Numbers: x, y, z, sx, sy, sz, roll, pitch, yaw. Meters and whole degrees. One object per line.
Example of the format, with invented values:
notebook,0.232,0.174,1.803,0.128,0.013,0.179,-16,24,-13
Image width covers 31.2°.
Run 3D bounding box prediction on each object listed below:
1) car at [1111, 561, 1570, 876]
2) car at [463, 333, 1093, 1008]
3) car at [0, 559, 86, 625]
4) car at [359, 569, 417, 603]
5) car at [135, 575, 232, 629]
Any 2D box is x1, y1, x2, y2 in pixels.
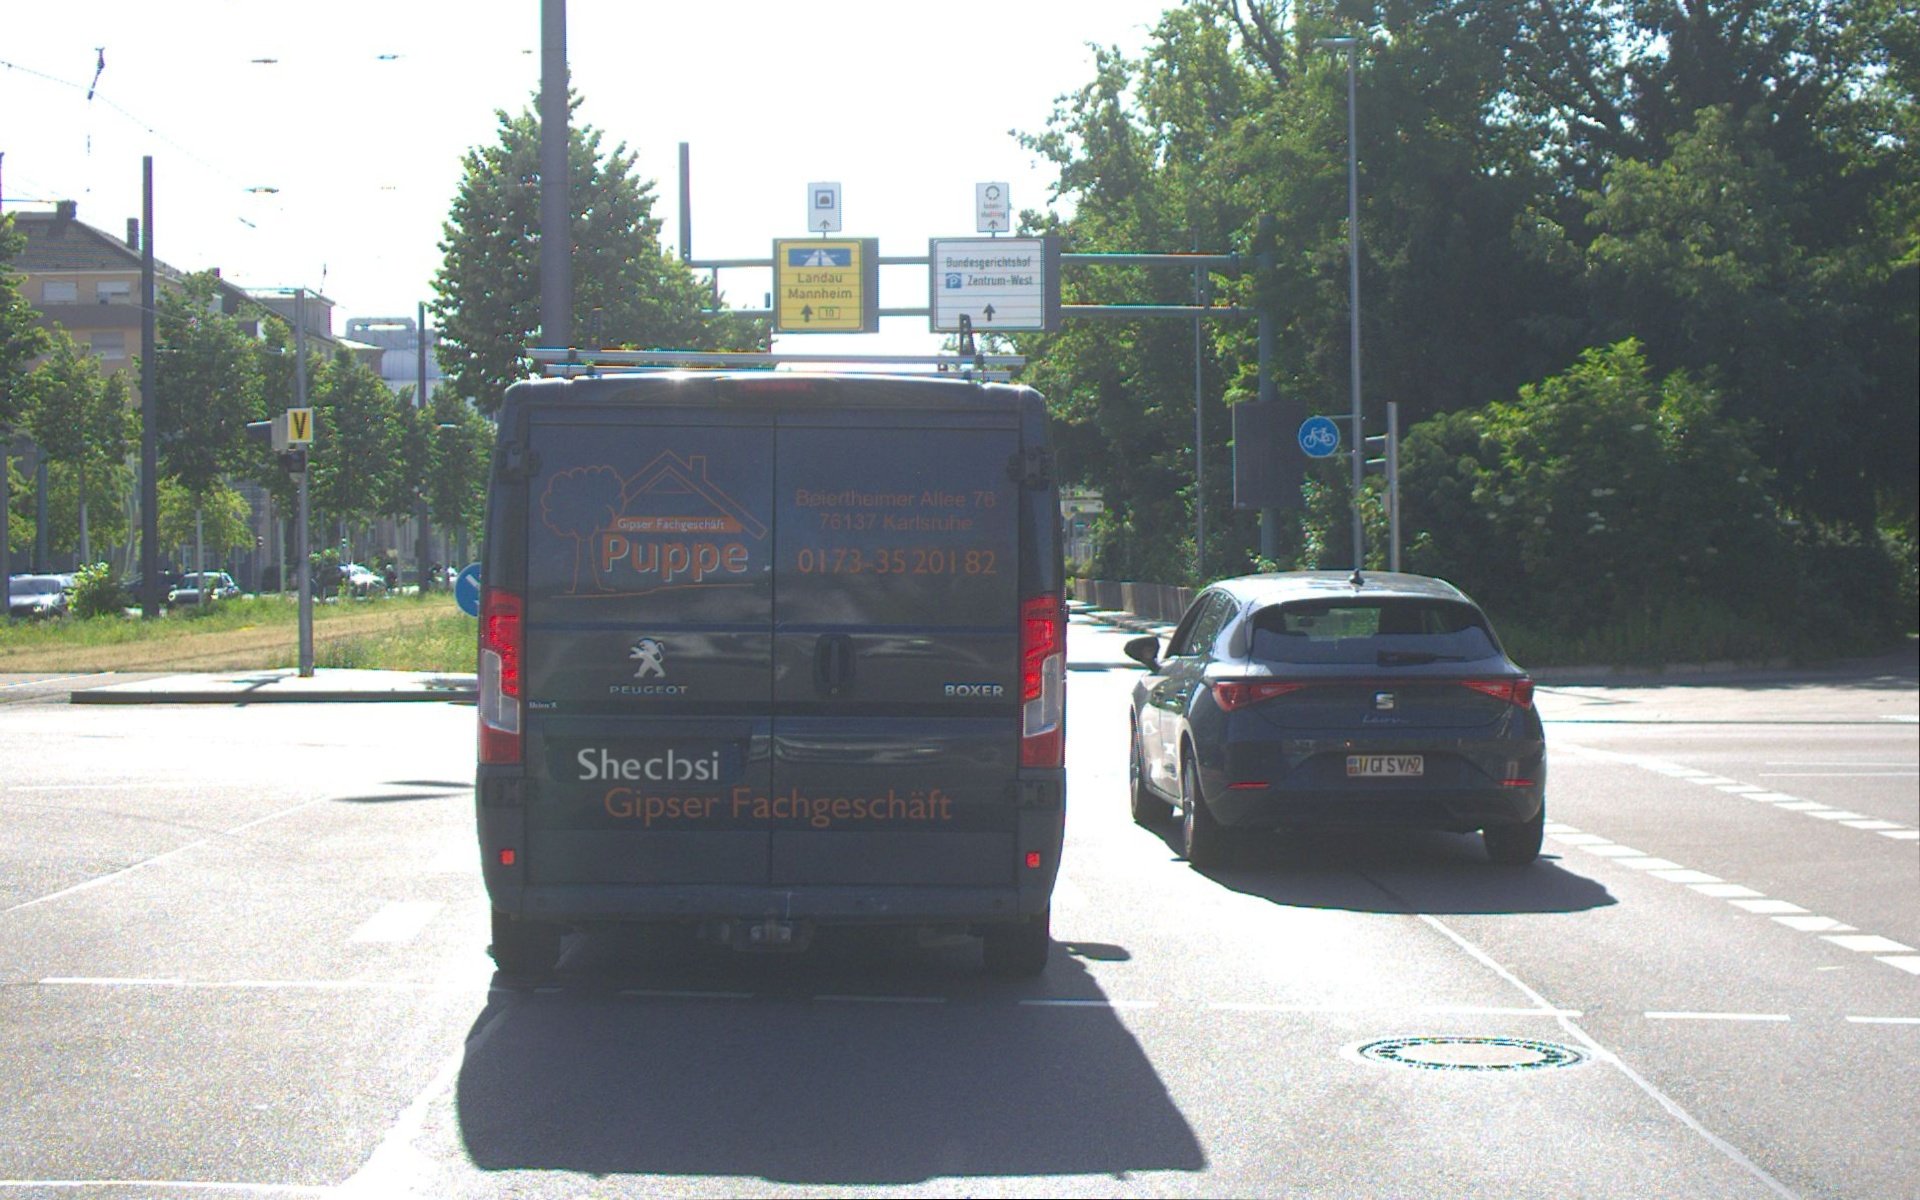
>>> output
car,1.879,0.536,18.139,1.763,1.457,4.001,1,1,-3
car,-0.663,0.214,13.498,2.082,2.241,4.000,1,1,-2
car,-22.783,-0.208,83.634,1.993,1.546,4.000,1,1,1
car,-26.520,-0.661,159.469,1.993,1.546,4.000,1,1,0
car,-23.578,0.045,104.494,1.993,1.546,4.000,1,1,1
